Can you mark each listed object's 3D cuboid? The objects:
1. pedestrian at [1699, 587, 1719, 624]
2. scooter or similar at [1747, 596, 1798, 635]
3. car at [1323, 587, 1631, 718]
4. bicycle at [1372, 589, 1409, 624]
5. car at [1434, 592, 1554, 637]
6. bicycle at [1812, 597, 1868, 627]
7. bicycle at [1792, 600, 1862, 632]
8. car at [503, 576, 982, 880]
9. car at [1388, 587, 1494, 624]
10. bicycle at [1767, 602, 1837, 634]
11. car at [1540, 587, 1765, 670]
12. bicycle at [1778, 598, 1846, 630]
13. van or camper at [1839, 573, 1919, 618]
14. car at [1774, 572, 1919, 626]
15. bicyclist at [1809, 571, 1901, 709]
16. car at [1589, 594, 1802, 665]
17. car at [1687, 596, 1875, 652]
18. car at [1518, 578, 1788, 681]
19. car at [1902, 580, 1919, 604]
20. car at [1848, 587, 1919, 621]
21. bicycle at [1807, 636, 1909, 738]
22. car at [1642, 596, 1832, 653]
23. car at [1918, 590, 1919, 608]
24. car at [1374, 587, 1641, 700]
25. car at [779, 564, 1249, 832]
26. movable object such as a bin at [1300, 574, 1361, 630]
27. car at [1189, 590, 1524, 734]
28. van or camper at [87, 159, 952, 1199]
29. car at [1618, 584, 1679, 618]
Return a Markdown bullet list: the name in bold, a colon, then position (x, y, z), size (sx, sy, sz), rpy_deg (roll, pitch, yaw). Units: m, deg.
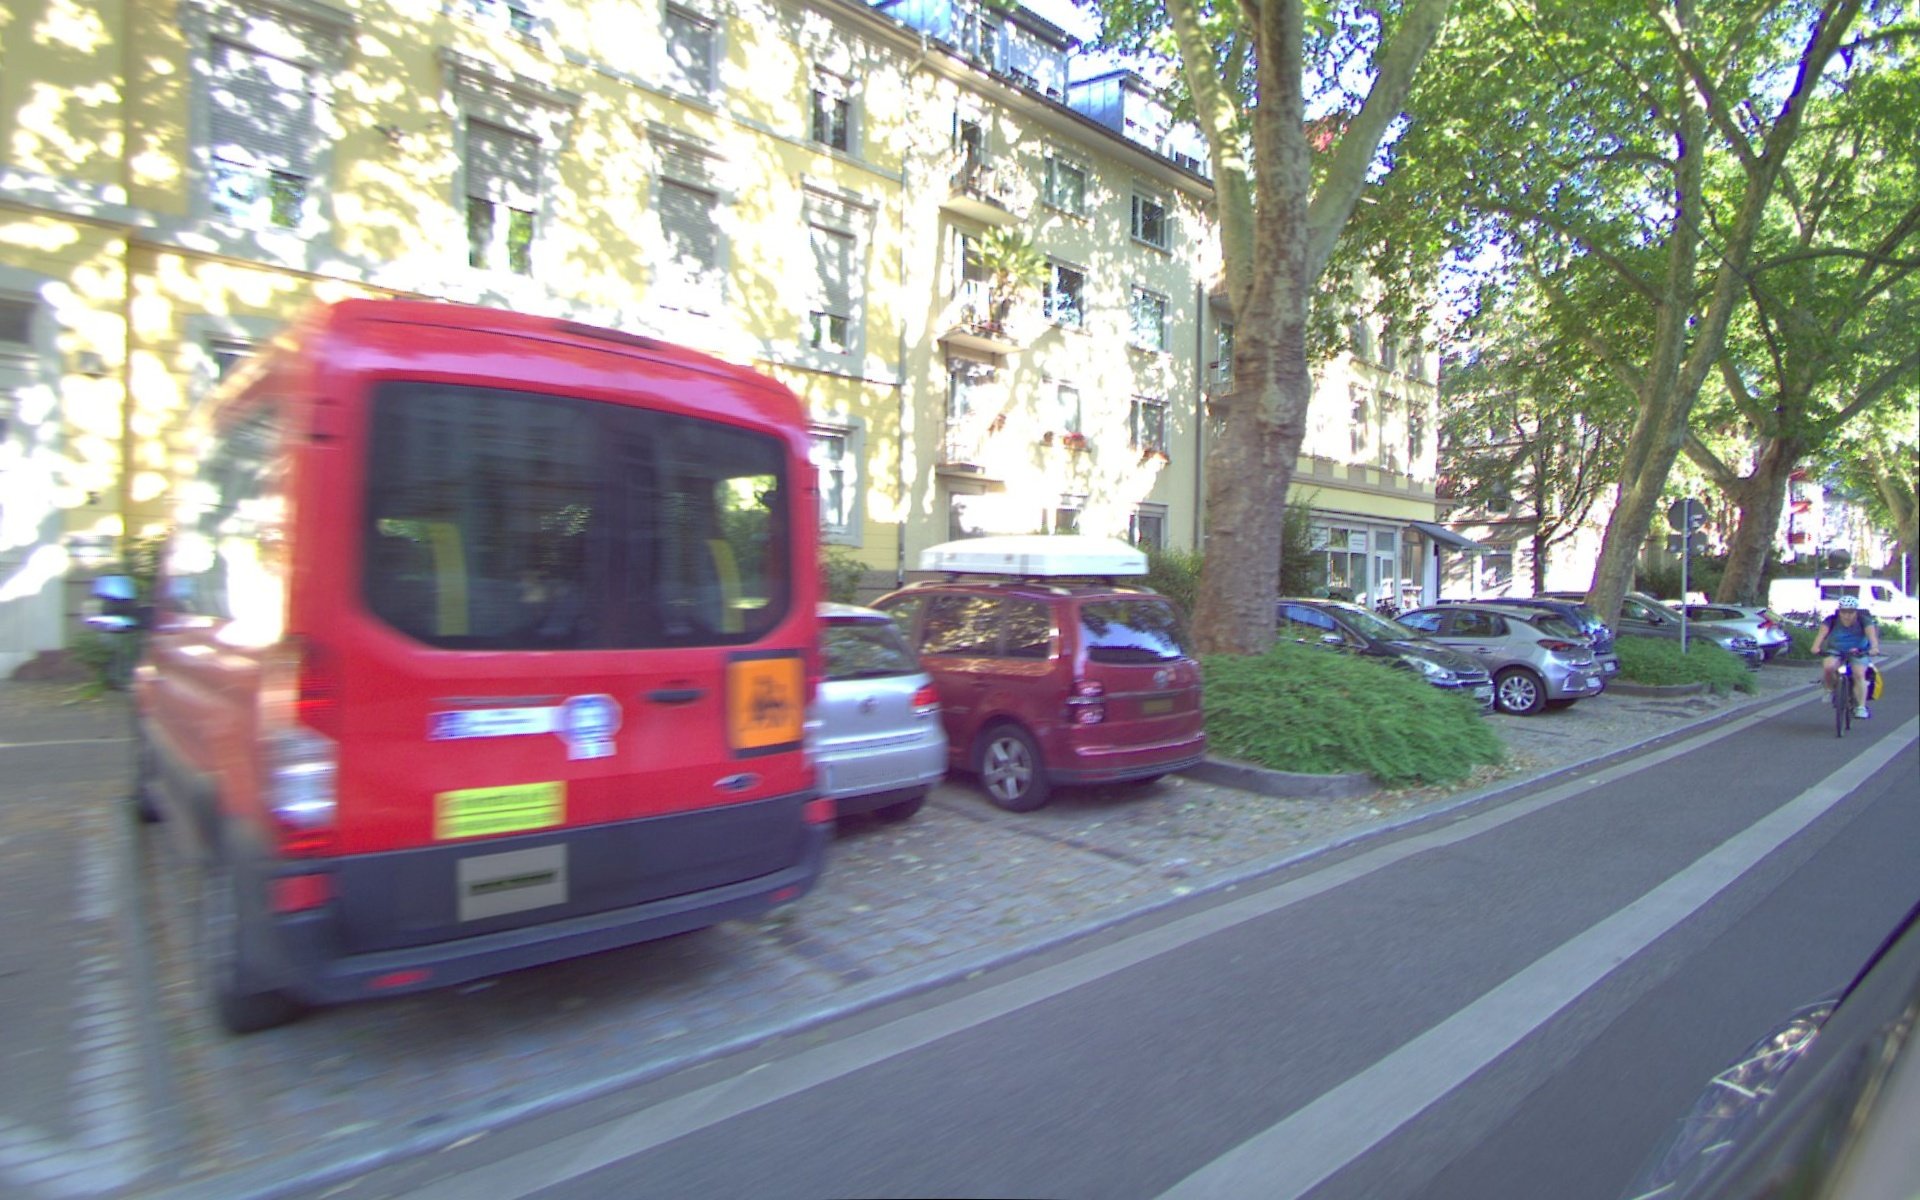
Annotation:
- **pedestrian**: position (34.903, 0.252, 47.185), size (0.587, 1.672, 0.703), rpy_deg (0, 0, 23)
- **scooter or similar**: position (27.172, 0.509, 33.849), size (0.334, 1.271, 1.313), rpy_deg (0, 0, -28)
- **car**: position (7.370, 0.639, 14.681), size (1.664, 1.536, 3.602), rpy_deg (0, 2, -41)
- **bicycle**: position (14.767, 0.224, 34.695), size (1.716, 1.170, 0.470), rpy_deg (1, 2, -42)
- **car**: position (21.946, 0.543, 41.694), size (1.820, 1.618, 3.998), rpy_deg (-3, 3, -37)
- **bicycle**: position (36.677, 0.491, 42.218), size (0.405, 1.193, 2.051), rpy_deg (-1, 1, -5)
- **bicycle**: position (33.899, 0.618, 39.589), size (0.405, 1.193, 2.050), rpy_deg (-1, 1, -33)
- **car**: position (-1.748, 0.648, 7.269), size (1.641, 1.549, 3.738), rpy_deg (0, 2, -44)
- **car**: position (20.296, 0.216, 42.772), size (1.664, 1.430, 3.678), rpy_deg (3, -1, -45)
- **bicycle**: position (32.686, 0.675, 39.308), size (0.405, 1.193, 2.050), rpy_deg (-1, 1, -33)
- **car**: position (15.973, 0.583, 23.495), size (1.653, 1.664, 4.032), rpy_deg (0, 2, -43)
- **bicycle**: position (33.962, 0.545, 40.357), size (0.405, 1.193, 2.050), rpy_deg (-1, 1, -33)
- **van or camper**: position (54.113, -0.279, 57.505), size (2.071, 2.522, 6.041), rpy_deg (0, 1, -42)
- **car**: position (40.563, -0.078, 45.402), size (1.970, 2.311, 6.004), rpy_deg (1, 0, -40)
- **bicyclist**: position (10.712, 0.471, 12.109), size (0.919, 1.573, 0.614), rpy_deg (0, -4, -42)
- **car**: position (17.904, 0.644, 24.738), size (4.028, 1.498, 1.655), rpy_deg (2, 2, 43)
- **car**: position (24.944, 0.674, 30.883), size (1.795, 1.510, 4.112), rpy_deg (0, 1, -33)
- **car**: position (14.209, 0.512, 20.935), size (1.818, 1.740, 4.268), rpy_deg (0, 3, -43)
- **car**: position (71.712, -0.566, 74.038), size (1.774, 1.767, 4.000), rpy_deg (0, 1, -41)
- **car**: position (49.399, 0.196, 53.207), size (1.767, 1.676, 3.958), rpy_deg (-1, 2, -44)
- **bicycle**: position (10.608, 0.975, 11.923), size (2.468, 1.017, 0.596), rpy_deg (0, -2, -42)
- **car**: position (22.631, 0.650, 29.625), size (1.650, 1.510, 4.109), rpy_deg (0, 1, -36)
- **car**: position (79.835, -0.043, 81.168), size (1.878, 1.500, 4.204), rpy_deg (0, 2, -40)
- **car**: position (8.951, 0.613, 16.762), size (1.514, 1.619, 3.601), rpy_deg (-1, 2, -41)
- **car**: position (0.268, 0.570, 8.551), size (1.738, 1.669, 3.822), rpy_deg (-2, 4, -44)
- **movable object such as a bin**: position (10.087, 0.039, 27.554), size (1.098, 1.455, 1.169), rpy_deg (0, 2, -41)
- **car**: position (4.965, 0.663, 13.020), size (1.664, 1.542, 3.676), rpy_deg (-1, 1, -41)
- **van or camper**: position (-2.869, 0.134, 5.251), size (2.249, 2.550, 5.823), rpy_deg (1, 2, -43)
- **car**: position (32.433, 0.033, 47.667), size (1.733, 1.473, 3.513), rpy_deg (3, 3, 45)
